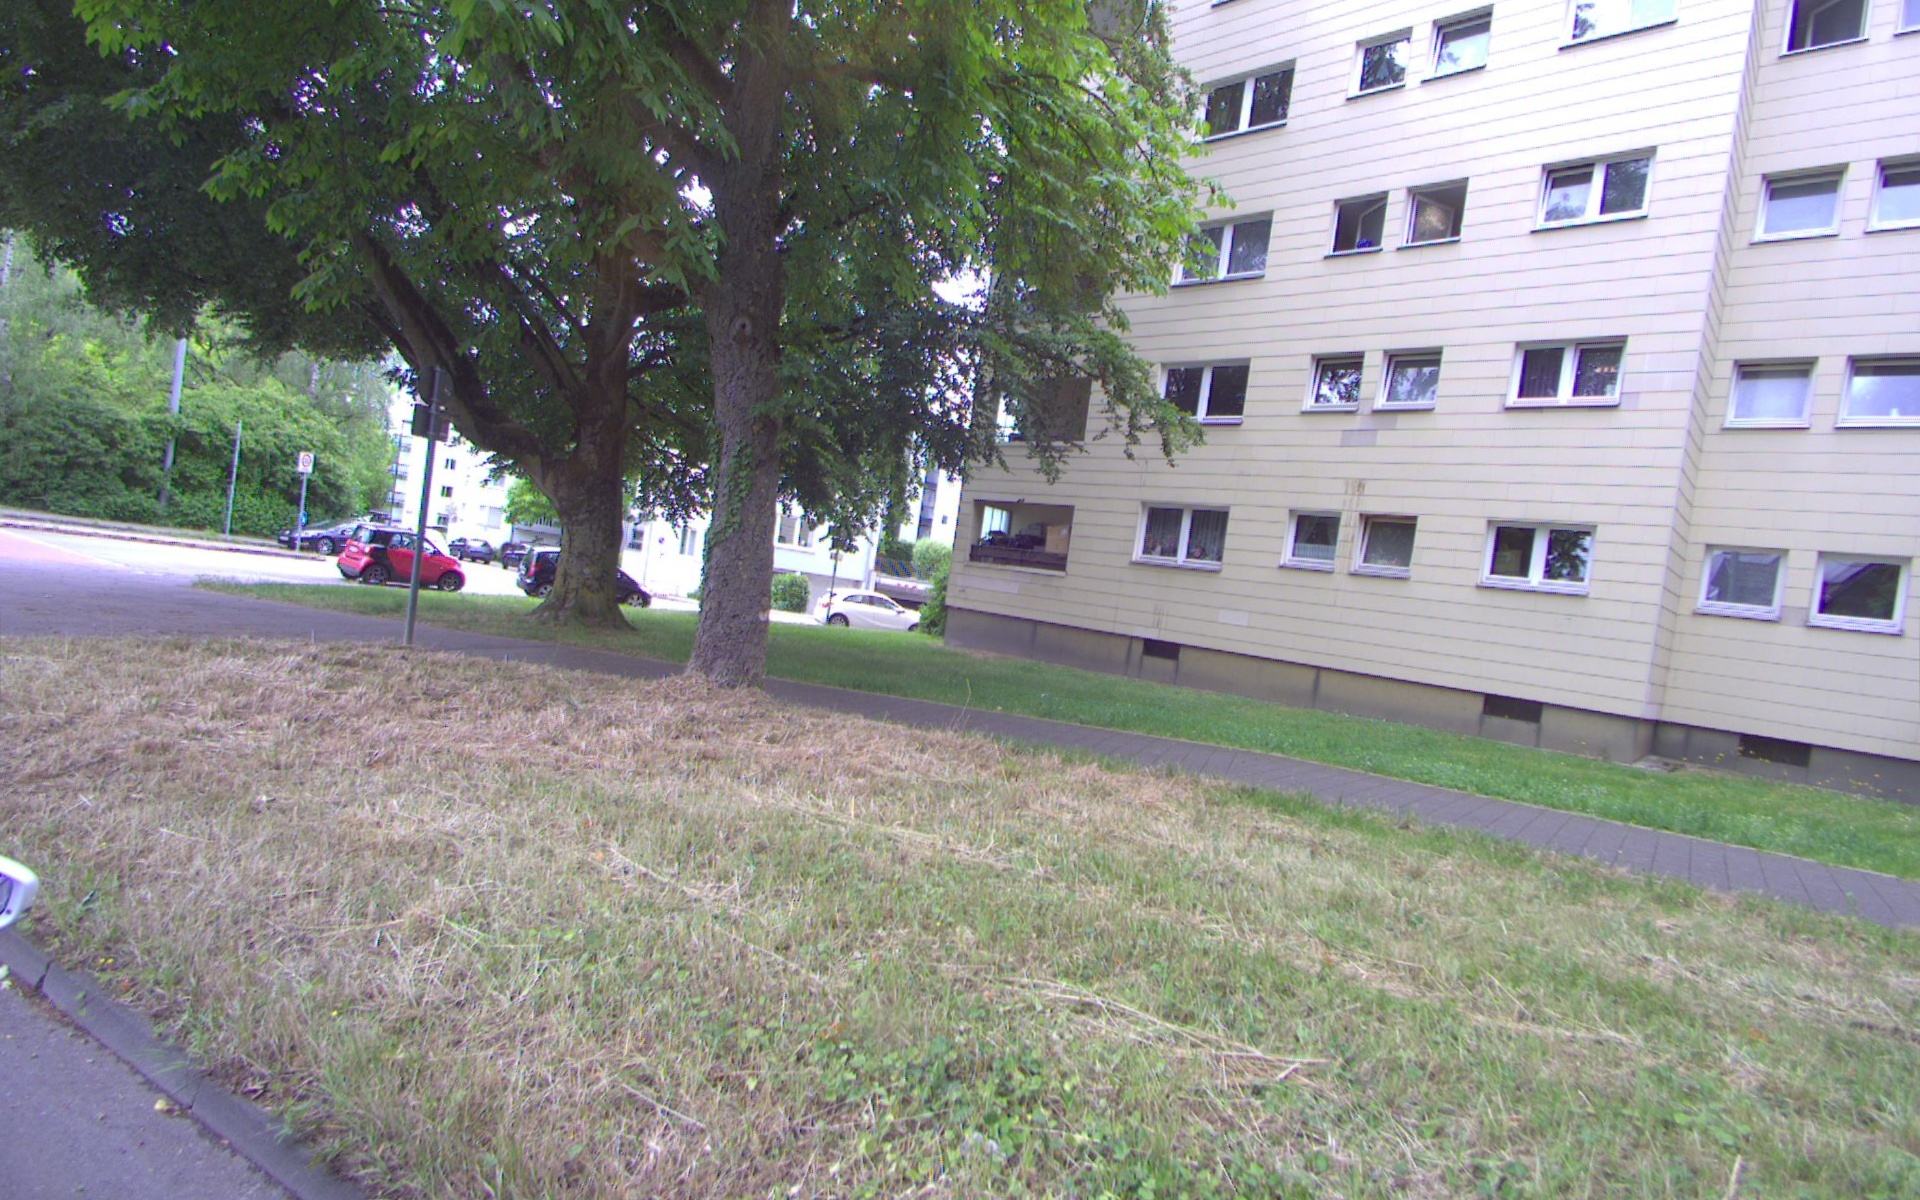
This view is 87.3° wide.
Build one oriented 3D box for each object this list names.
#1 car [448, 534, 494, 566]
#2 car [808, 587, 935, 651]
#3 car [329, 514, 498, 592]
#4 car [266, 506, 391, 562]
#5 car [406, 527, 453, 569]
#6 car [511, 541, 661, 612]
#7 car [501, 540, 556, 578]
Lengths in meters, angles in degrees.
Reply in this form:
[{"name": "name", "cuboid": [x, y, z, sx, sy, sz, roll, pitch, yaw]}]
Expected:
[{"name": "car", "cuboid": [-30.171, -3.103, 62.047, 1.713, 1.631, 3.813, 6, 1, -38]}, {"name": "car", "cuboid": [-2.941, 0.621, 33.338, 3.796, 1.631, 1.721, 7, 1, -18]}, {"name": "car", "cuboid": [-14.582, -1.223, 26.973, 1.702, 1.631, 3.516, 8, 1, 37]}, {"name": "car", "cuboid": [-23.457, -2.426, 37.456, 1.702, 1.549, 3.515, 8, 1, 38]}, {"name": "car", "cuboid": [-24.934, -2.467, 47.207, 1.709, 1.631, 3.823, 6, 1, -30]}, {"name": "car", "cuboid": [-11.112, -0.689, 29.948, 3.814, 1.631, 1.713, 7, 1, -33]}, {"name": "car", "cuboid": [-23.245, -2.223, 54.095, 1.713, 1.631, 3.813, 6, 1, -38]}]
